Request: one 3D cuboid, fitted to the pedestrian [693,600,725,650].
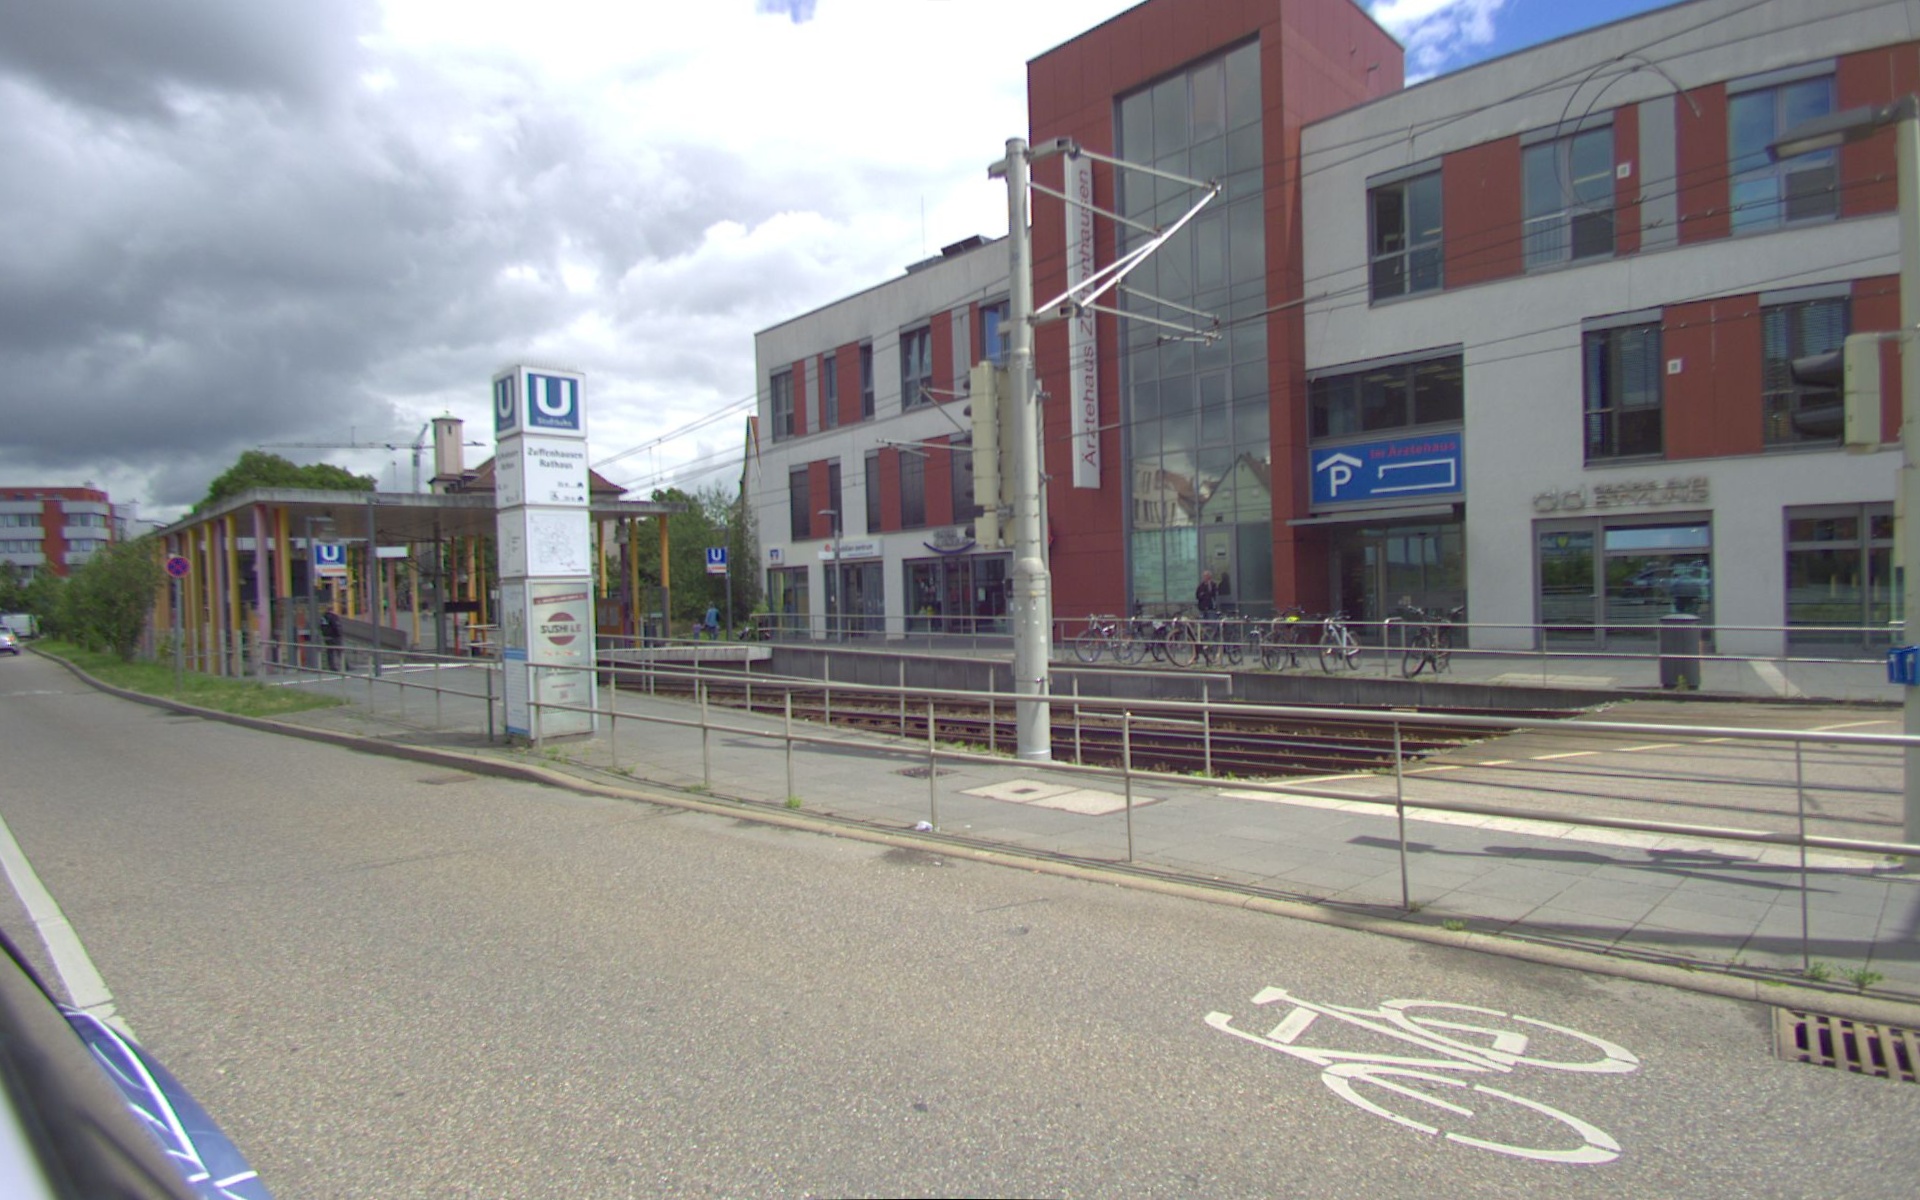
[{"bbox_3d":[-10.191,0.992,41.027,0.851,1.983,1.108,0,-1,-40],"label":"pedestrian"}]

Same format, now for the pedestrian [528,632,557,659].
[{"bbox_3d":[-18.329,1.978,44.448,0.930,1.143,0.886,-1,-1,-44],"label":"pedestrian"}]

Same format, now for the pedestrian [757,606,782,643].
[{"bbox_3d":[-10.257,1.310,54.537,1.088,1.983,0.867,0,-1,-36],"label":"pedestrian"}]

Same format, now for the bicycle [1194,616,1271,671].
[{"bbox_3d":[5.182,0.797,19.187,1.835,0.946,0.455,-1,0,-41],"label":"bicycle"}]

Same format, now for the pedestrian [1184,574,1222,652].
[{"bbox_3d":[5.923,0.294,24.638,0.857,1.859,0.875,0,1,17],"label":"pedestrian"}]

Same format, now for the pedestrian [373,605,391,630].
[{"bbox_3d":[-48.038,1.432,84.078,1.111,2.029,0.816,-1,-1,-40],"label":"pedestrian"}]

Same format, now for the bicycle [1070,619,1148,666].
[{"bbox_3d":[3.128,0.866,21.175,1.833,0.888,0.455,-1,0,-37],"label":"bicycle"}]

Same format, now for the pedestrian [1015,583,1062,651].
[{"bbox_3d":[2.038,0.433,26.172,0.776,1.711,0.937,0,-1,-41],"label":"pedestrian"}]

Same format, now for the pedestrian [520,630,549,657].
[{"bbox_3d":[-19.027,1.931,45.222,0.930,1.143,0.886,-1,-1,-44],"label":"pedestrian"}]

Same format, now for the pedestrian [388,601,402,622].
[{"bbox_3d":[-55.260,1.112,98.972,1.107,2.029,1.665,-1,-1,-29],"label":"pedestrian"}]

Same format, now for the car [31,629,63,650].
[{"bbox_3d":[-80.107,3.441,88.823,1.839,1.719,4.008,0,-1,-38],"label":"car"}]

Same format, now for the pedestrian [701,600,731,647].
[{"bbox_3d":[-10.318,0.981,42.802,0.851,1.983,1.108,0,-1,-40],"label":"pedestrian"}]

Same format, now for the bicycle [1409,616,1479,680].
[{"bbox_3d":[7.986,0.774,16.681,1.715,0.959,0.428,-1,0,-43],"label":"bicycle"}]

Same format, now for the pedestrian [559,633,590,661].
[{"bbox_3d":[-16.196,1.954,42.474,0.930,1.143,0.886,-1,-1,-44],"label":"pedestrian"}]

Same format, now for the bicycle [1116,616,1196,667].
[{"bbox_3d":[3.975,0.823,20.428,1.833,0.939,0.455,-1,0,-37],"label":"bicycle"}]

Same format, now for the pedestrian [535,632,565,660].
[{"bbox_3d":[-17.687,1.969,43.686,0.930,1.143,0.886,-1,-1,-44],"label":"pedestrian"}]

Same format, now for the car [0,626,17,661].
[{"bbox_3d":[-46.707,2.124,48.867,1.566,1.548,3.949,-5,3,-44],"label":"car"}]

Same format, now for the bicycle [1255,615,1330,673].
[{"bbox_3d":[6.096,0.778,18.476,1.835,0.970,0.455,-1,0,-43],"label":"bicycle"}]

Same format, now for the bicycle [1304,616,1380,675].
[{"bbox_3d":[6.737,0.784,17.796,1.835,0.942,0.455,-1,0,-43],"label":"bicycle"}]

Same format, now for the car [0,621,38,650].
[{"bbox_3d":[-71.246,2.655,76.517,1.968,2.092,4.008,0,-1,-39],"label":"car"}]

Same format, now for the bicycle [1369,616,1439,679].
[{"bbox_3d":[7.526,0.777,17.116,1.715,0.965,0.428,-1,0,-43],"label":"bicycle"}]

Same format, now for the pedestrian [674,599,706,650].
[{"bbox_3d":[-10.803,0.974,40.526,0.851,1.983,1.108,0,-1,-40],"label":"pedestrian"}]

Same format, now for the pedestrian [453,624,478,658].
[{"bbox_3d":[-30.393,2.508,62.182,1.111,2.029,1.181,-1,-1,-40],"label":"pedestrian"}]

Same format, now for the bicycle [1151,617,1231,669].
[{"bbox_3d":[4.550,0.815,19.830,1.833,0.929,0.455,-1,0,-38],"label":"bicycle"}]

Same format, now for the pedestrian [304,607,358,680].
[{"bbox_3d":[-16.929,1.149,27.245,1.089,1.929,0.865,0,-1,-44],"label":"pedestrian"}]

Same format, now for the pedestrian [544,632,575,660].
[{"bbox_3d":[-17.012,1.961,43.004,0.930,1.143,0.886,-1,-1,-44],"label":"pedestrian"}]
